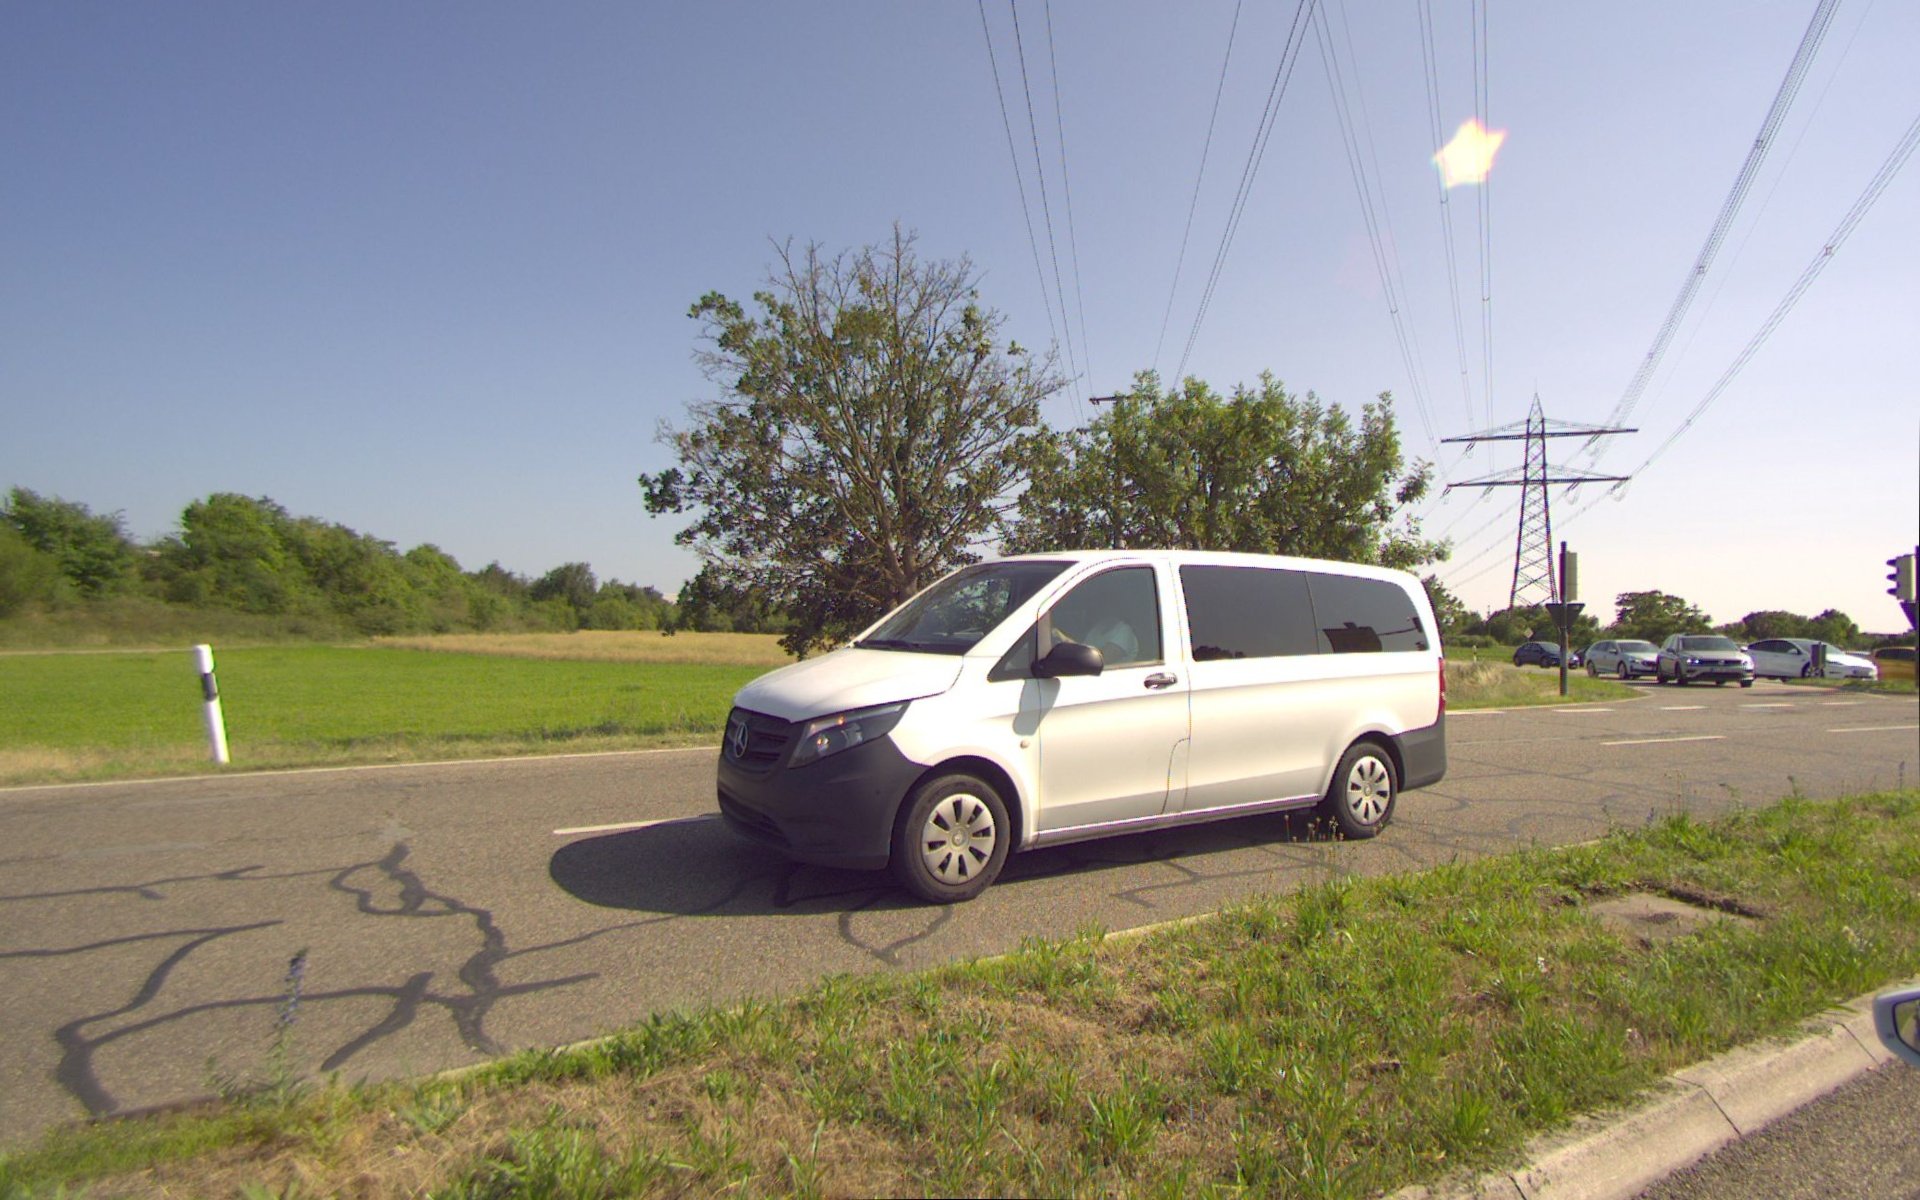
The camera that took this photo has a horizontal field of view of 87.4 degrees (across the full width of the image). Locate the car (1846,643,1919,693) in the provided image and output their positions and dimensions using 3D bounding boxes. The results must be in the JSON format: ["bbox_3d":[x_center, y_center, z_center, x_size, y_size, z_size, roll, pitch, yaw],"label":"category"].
[{"bbox_3d":[33.595,2.379,35.052,1.785,1.673,4.000,1,-1,-2],"label":"car"}]

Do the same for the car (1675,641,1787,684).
[{"bbox_3d":[33.613,2.692,43.937,1.785,1.673,4.000,1,-1,-2],"label":"car"}]

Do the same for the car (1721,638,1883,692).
[{"bbox_3d":[30.400,2.297,36.494,1.785,1.673,4.760,2,-1,-2],"label":"car"}]

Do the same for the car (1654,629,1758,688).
[{"bbox_3d":[23.123,1.765,31.299,1.786,1.673,3.997,0,-2,25],"label":"car"}]

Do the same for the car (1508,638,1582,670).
[{"bbox_3d":[33.000,3.000,56.765,1.785,1.673,4.000,1,-1,-2],"label":"car"}]

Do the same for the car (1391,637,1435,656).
[{"bbox_3d":[38.105,3.906,84.537,1.773,1.539,3.879,1,-2,-4],"label":"car"}]

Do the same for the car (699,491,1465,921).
[{"bbox_3d":[0.972,0.511,6.676,4.892,1.943,1.983,1,0,-31],"label":"car"}]

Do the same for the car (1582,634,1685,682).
[{"bbox_3d":[25.339,2.132,37.959,1.783,1.673,4.003,1,-2,10],"label":"car"}]

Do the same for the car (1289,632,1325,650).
[{"bbox_3d":[32.187,3.797,93.157,1.785,1.505,3.998,0,0,-3],"label":"car"}]
